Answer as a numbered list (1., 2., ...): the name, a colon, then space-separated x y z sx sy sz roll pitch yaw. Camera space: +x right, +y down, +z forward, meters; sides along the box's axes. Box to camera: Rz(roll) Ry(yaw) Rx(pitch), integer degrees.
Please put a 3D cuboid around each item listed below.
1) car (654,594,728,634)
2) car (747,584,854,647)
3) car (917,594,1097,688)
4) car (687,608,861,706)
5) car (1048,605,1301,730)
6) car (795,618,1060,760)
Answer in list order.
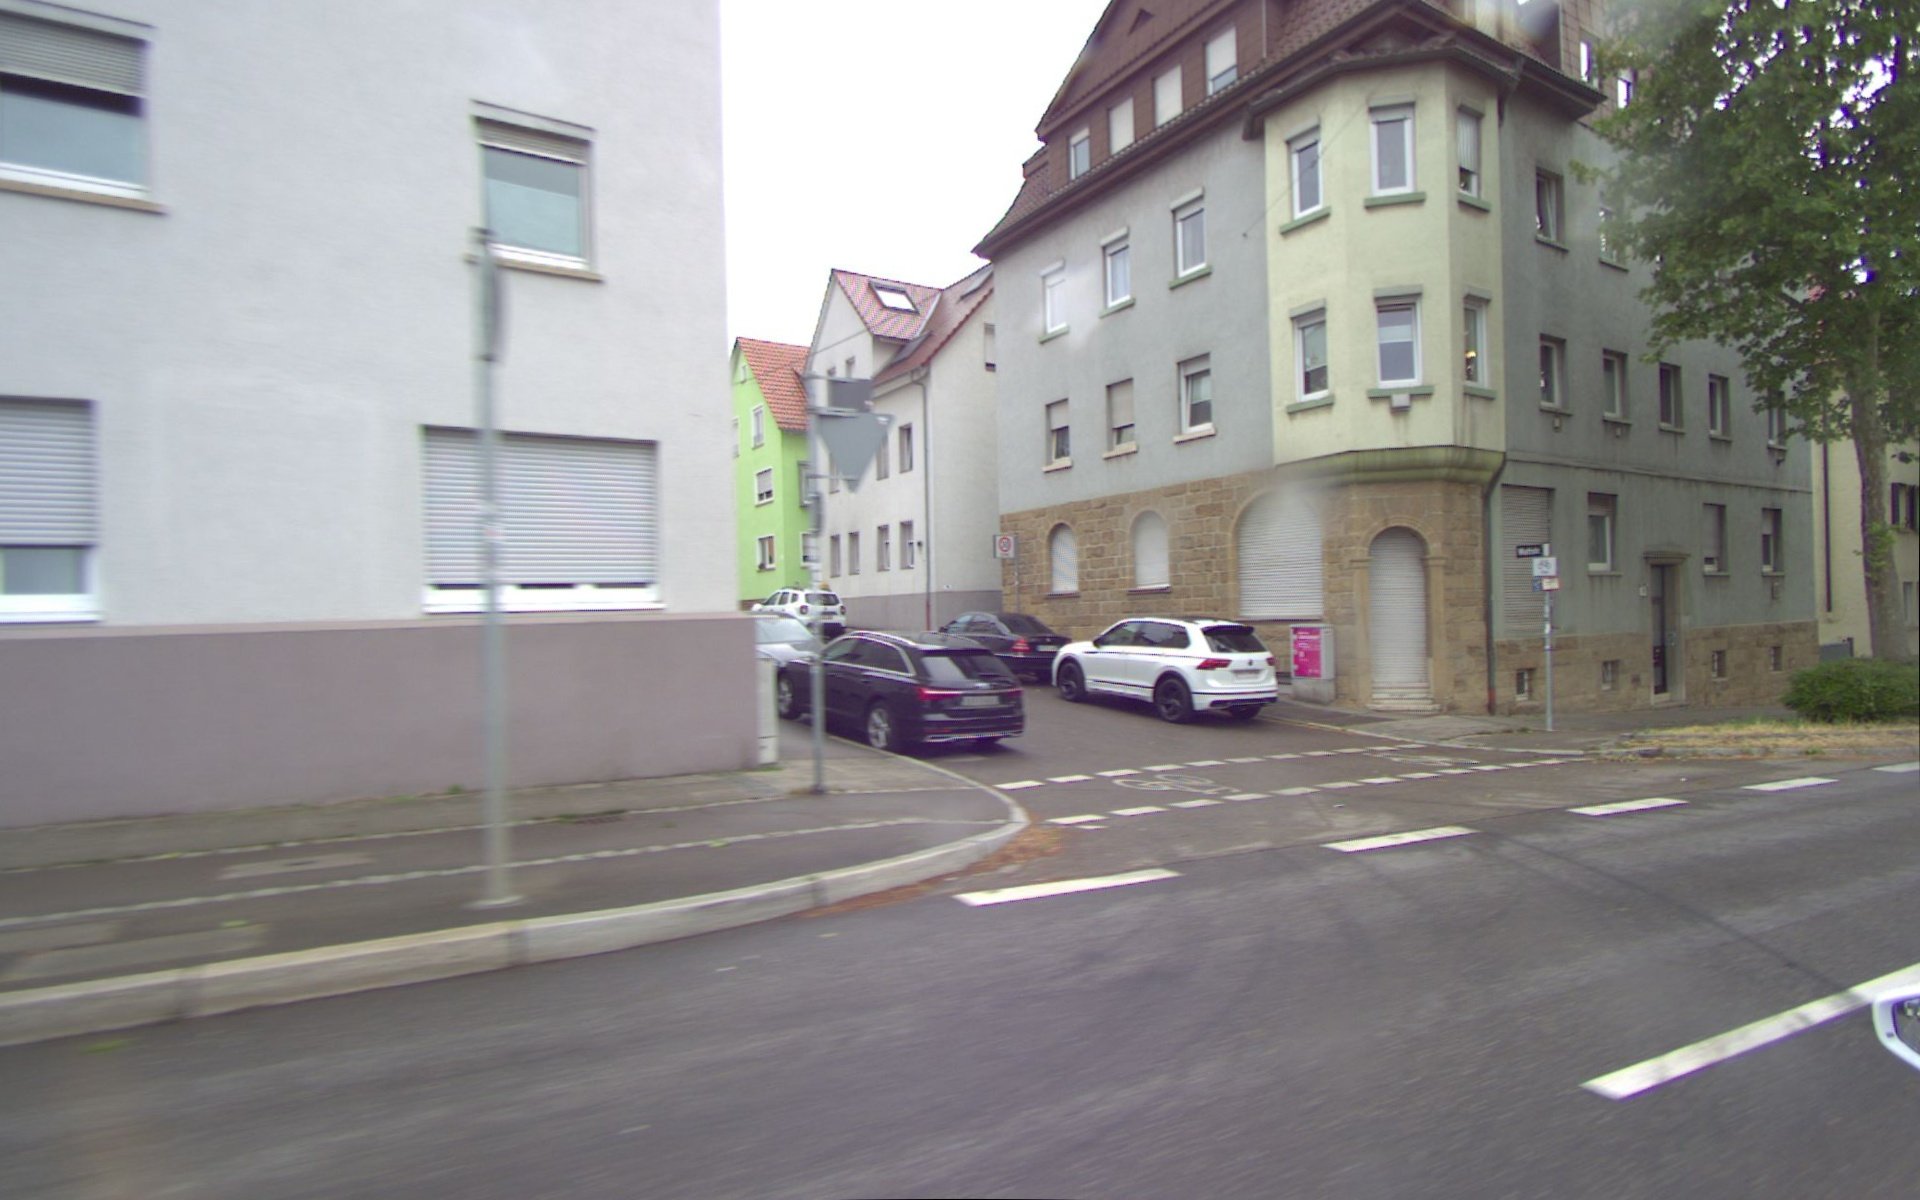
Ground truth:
1. car: -11.230 0.552 41.737 1.813 1.427 4.158 1 2 -33
2. car: -5.085 0.433 31.648 1.813 1.727 4.158 1 2 -33
3. car: 0.913 0.816 22.177 1.977 1.727 4.160 1 2 -31
4. car: -3.632 0.985 19.066 1.952 1.472 3.965 1 2 -32
5. car: 3.577 1.043 17.492 1.977 1.727 4.160 1 2 -31
6. car: -0.612 1.088 14.033 1.978 1.472 3.965 1 2 -32
